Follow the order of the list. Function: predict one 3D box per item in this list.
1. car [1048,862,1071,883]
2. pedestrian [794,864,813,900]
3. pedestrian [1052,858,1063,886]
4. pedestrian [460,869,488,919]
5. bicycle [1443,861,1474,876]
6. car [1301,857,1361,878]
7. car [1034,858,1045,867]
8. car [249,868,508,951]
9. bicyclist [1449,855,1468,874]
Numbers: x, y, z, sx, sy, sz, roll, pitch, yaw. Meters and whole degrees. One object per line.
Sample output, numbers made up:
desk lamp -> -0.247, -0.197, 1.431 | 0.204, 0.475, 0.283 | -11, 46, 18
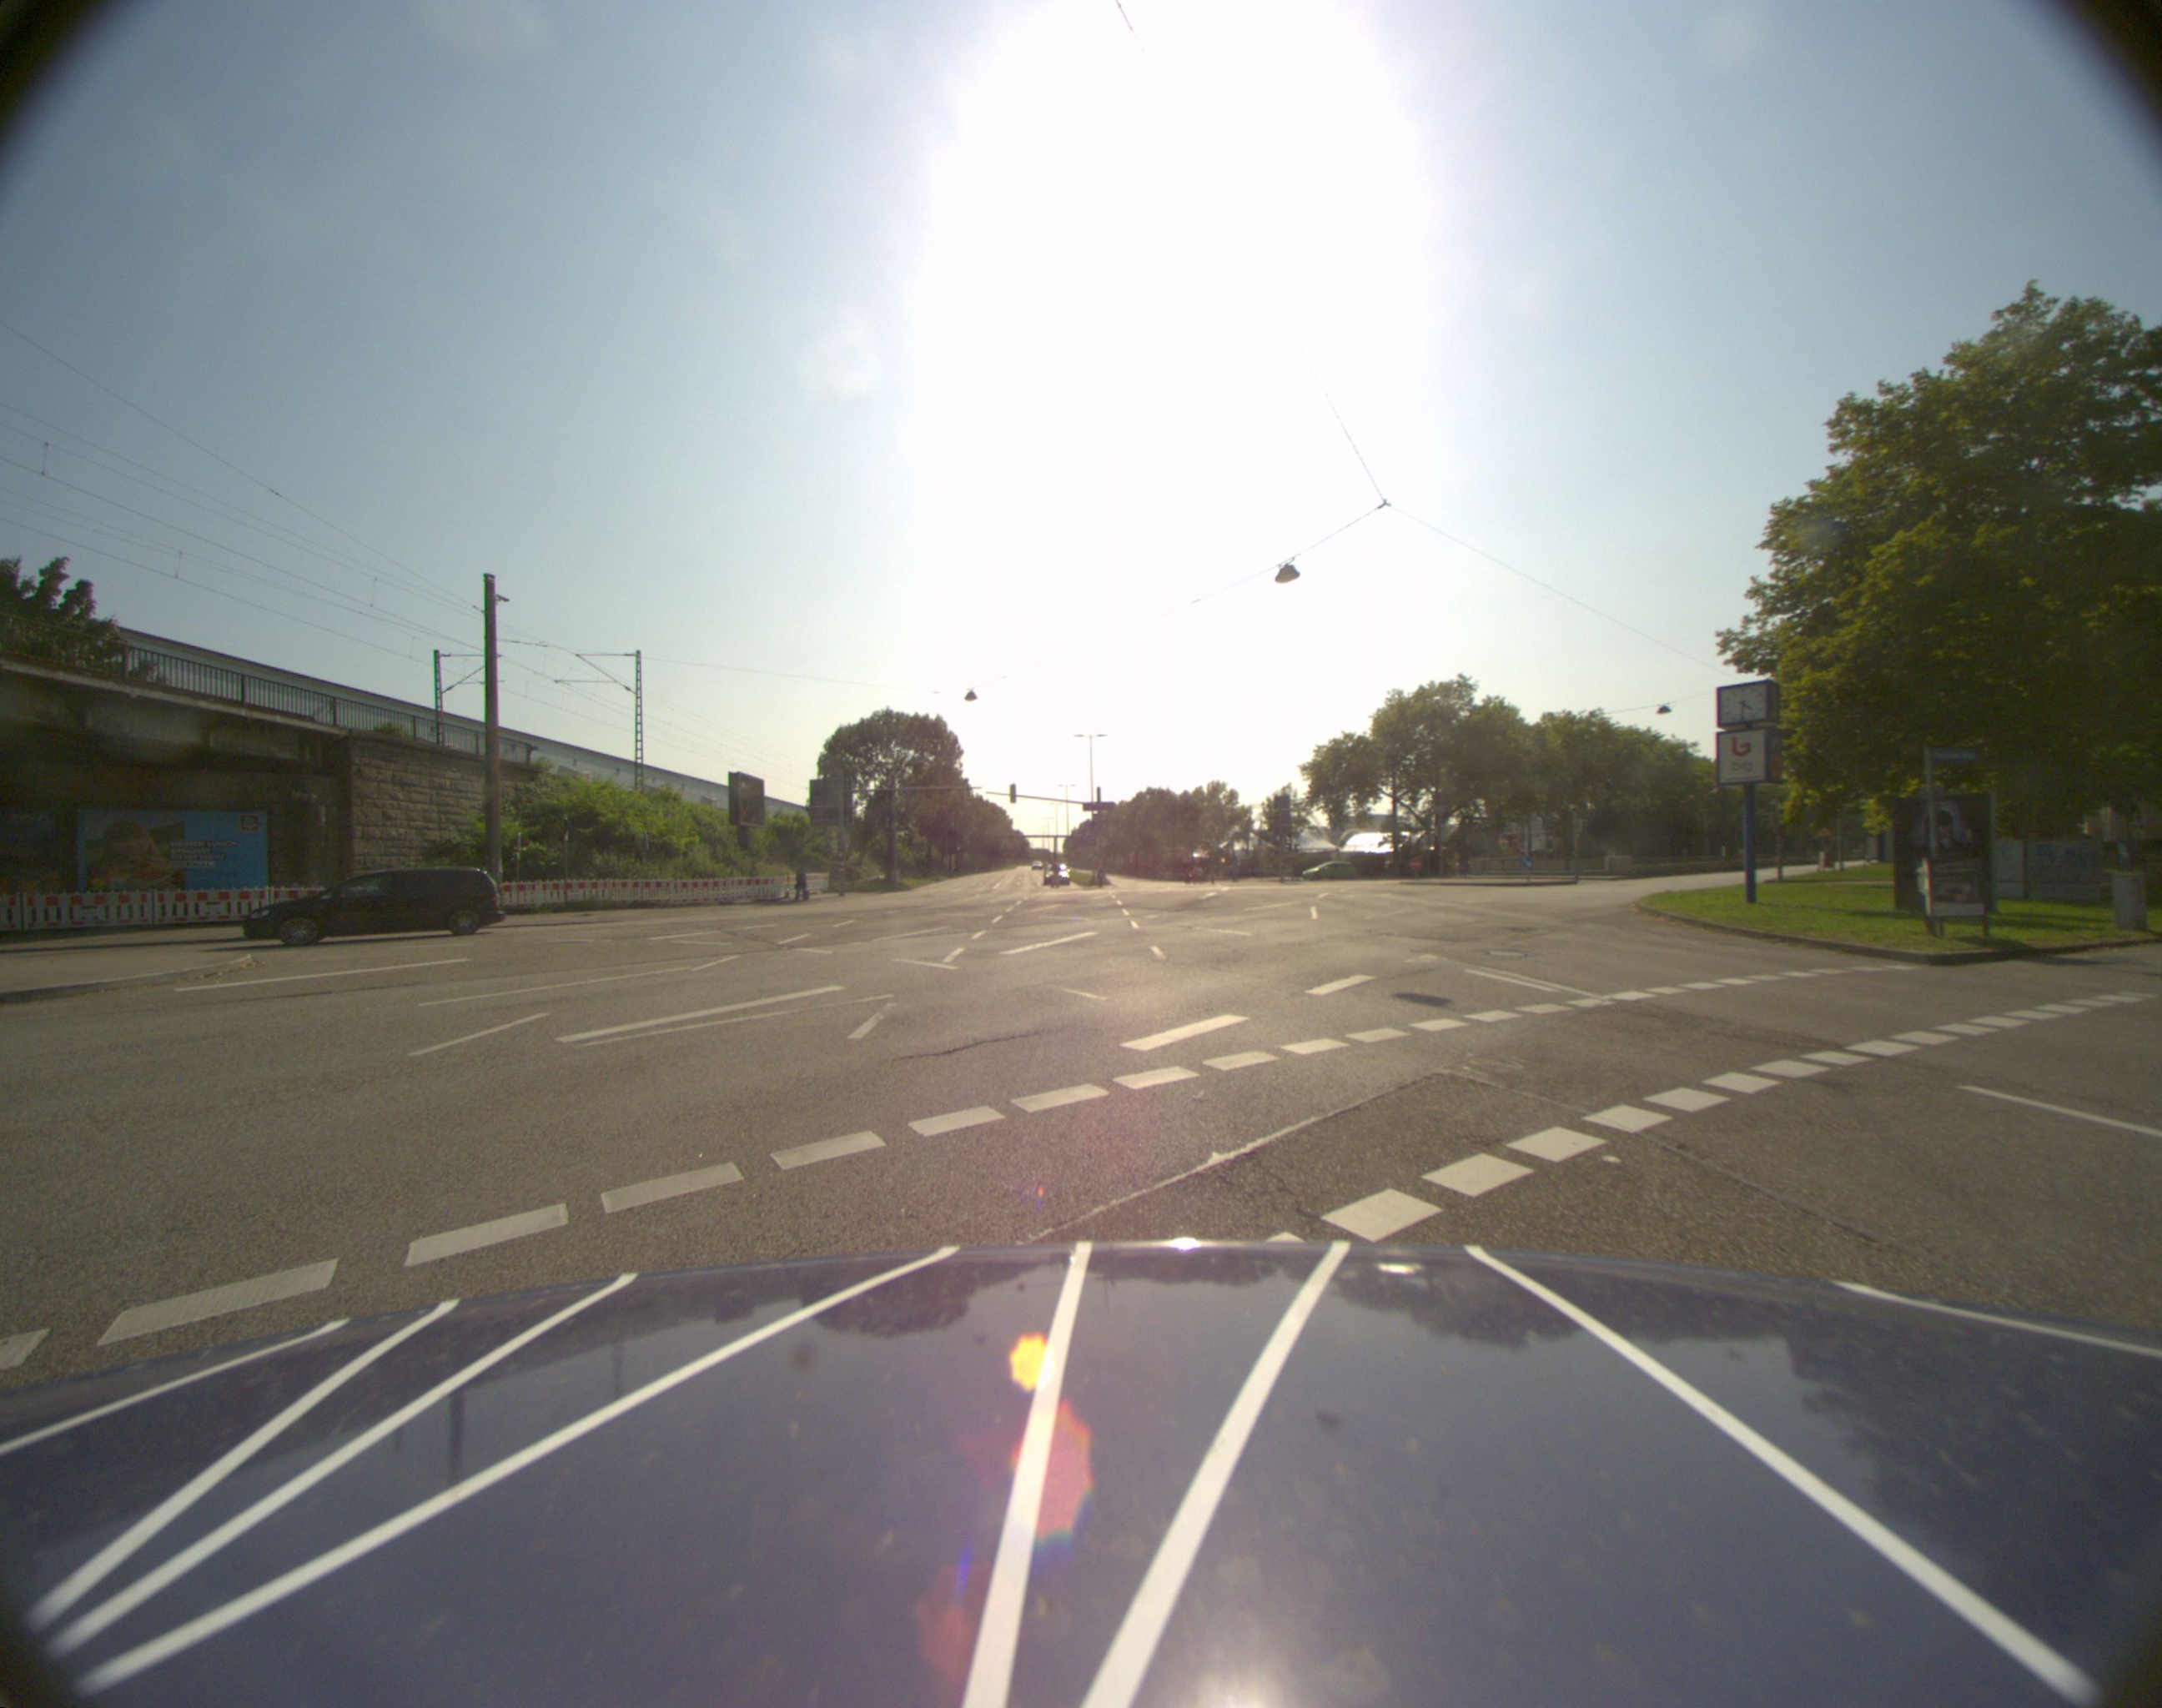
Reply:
car -> -1.529, 1.294, 54.047 | 1.545, 1.433, 3.394 | -1, 0, -1
pedestrian -> -12.497, 1.260, 34.255 | 0.650, 1.565, 0.759 | 0, 1, -10
pedestrian -> -1.460, 1.106, 46.856 | 0.647, 1.715, 0.587 | -1, 1, -6
pedestrian -> -19.734, 1.285, 24.683 | 0.636, 1.565, 0.489 | -2, 1, -41
bicycle -> 22.826, 0.887, 45.961 | 0.531, 0.860, 1.733 | -1, 0, -25
car -> 18.996, 1.023, 57.898 | 3.996, 1.543, 2.001 | -1, 0, 4
car -> -7.345, 1.494, 135.834 | 1.865, 1.584, 3.999 | -1, 0, -2
car -> -16.003, 1.209, 17.599 | 4.203, 1.578, 1.777 | -1, -2, -41
bicyclist -> 22.816, 0.614, 45.962 | 0.521, 1.134, 0.907 | -1, 1, -25
